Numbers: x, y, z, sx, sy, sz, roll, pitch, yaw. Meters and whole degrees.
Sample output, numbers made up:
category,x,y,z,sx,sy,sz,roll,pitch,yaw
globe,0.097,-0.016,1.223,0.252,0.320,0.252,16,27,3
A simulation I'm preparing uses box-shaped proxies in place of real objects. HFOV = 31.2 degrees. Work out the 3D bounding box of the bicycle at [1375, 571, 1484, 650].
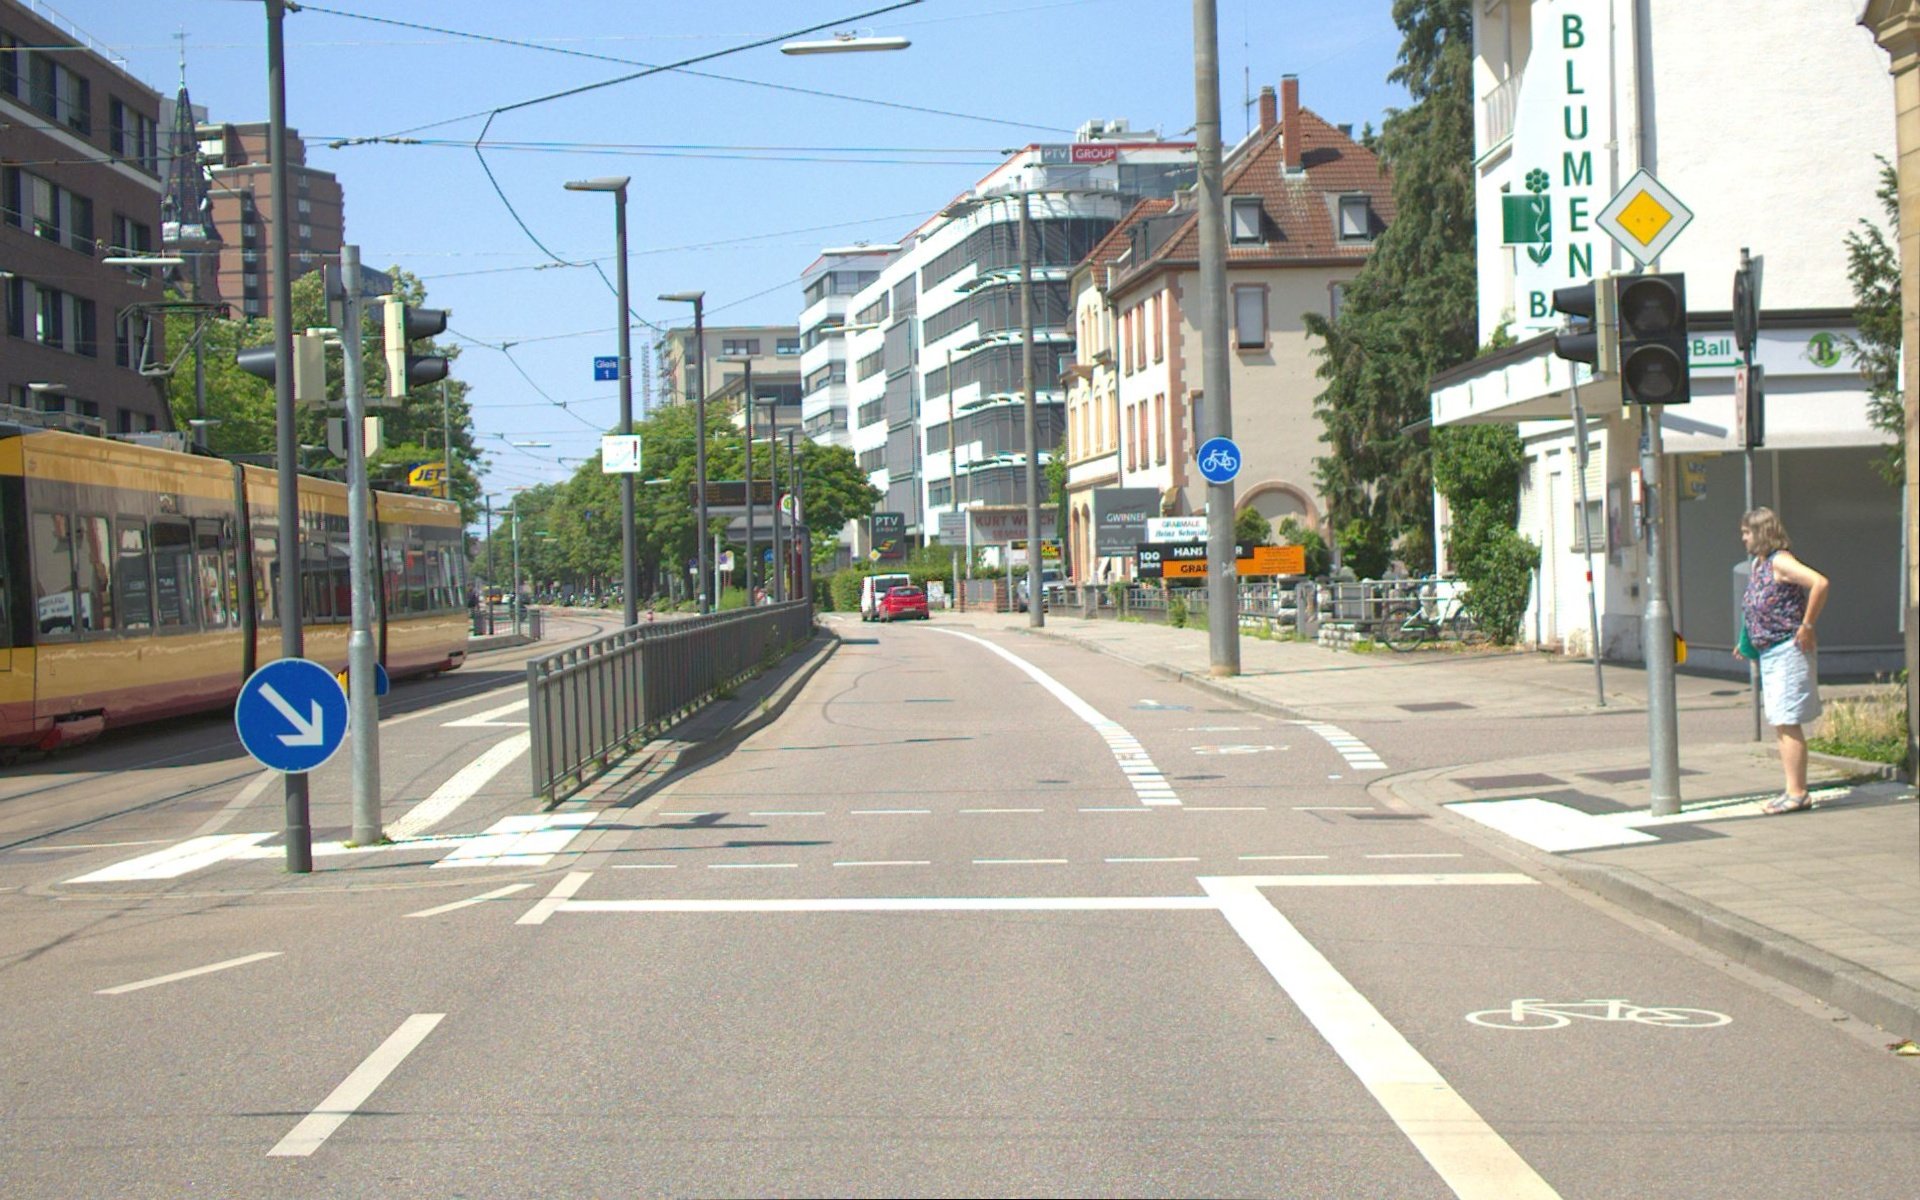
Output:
category,x,y,z,sx,sy,sz,roll,pitch,yaw
bicycle,6.971,0.157,51.058,1.533,1.082,0.429,-3,0,5

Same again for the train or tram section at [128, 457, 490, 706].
category,x,y,z,sx,sy,sz,roll,pitch,yaw
train or tram section,-10.663,-0.272,58.592,3.235,3.555,16.350,-2,0,-1

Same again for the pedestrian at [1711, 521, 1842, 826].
category,x,y,z,sx,sy,sz,roll,pitch,yaw
pedestrian,4.549,0.400,19.143,0.564,1.660,0.681,-2,0,22

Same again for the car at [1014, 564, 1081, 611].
category,x,y,z,sx,sy,sz,roll,pitch,yaw
car,3.338,-0.473,131.784,1.878,1.619,4.640,-4,0,-6

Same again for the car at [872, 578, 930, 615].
category,x,y,z,sx,sy,sz,roll,pitch,yaw
car,-2.443,-0.155,141.604,1.993,1.437,4.017,-1,0,-7

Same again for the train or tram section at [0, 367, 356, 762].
category,x,y,z,sx,sy,sz,roll,pitch,yaw
train or tram section,-10.399,-0.284,40.310,3.250,3.555,20.501,-2,0,-1

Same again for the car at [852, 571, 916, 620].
category,x,y,z,sx,sy,sz,roll,pitch,yaw
car,-3.317,-0.200,148.091,1.993,1.985,5.516,-3,1,-8
